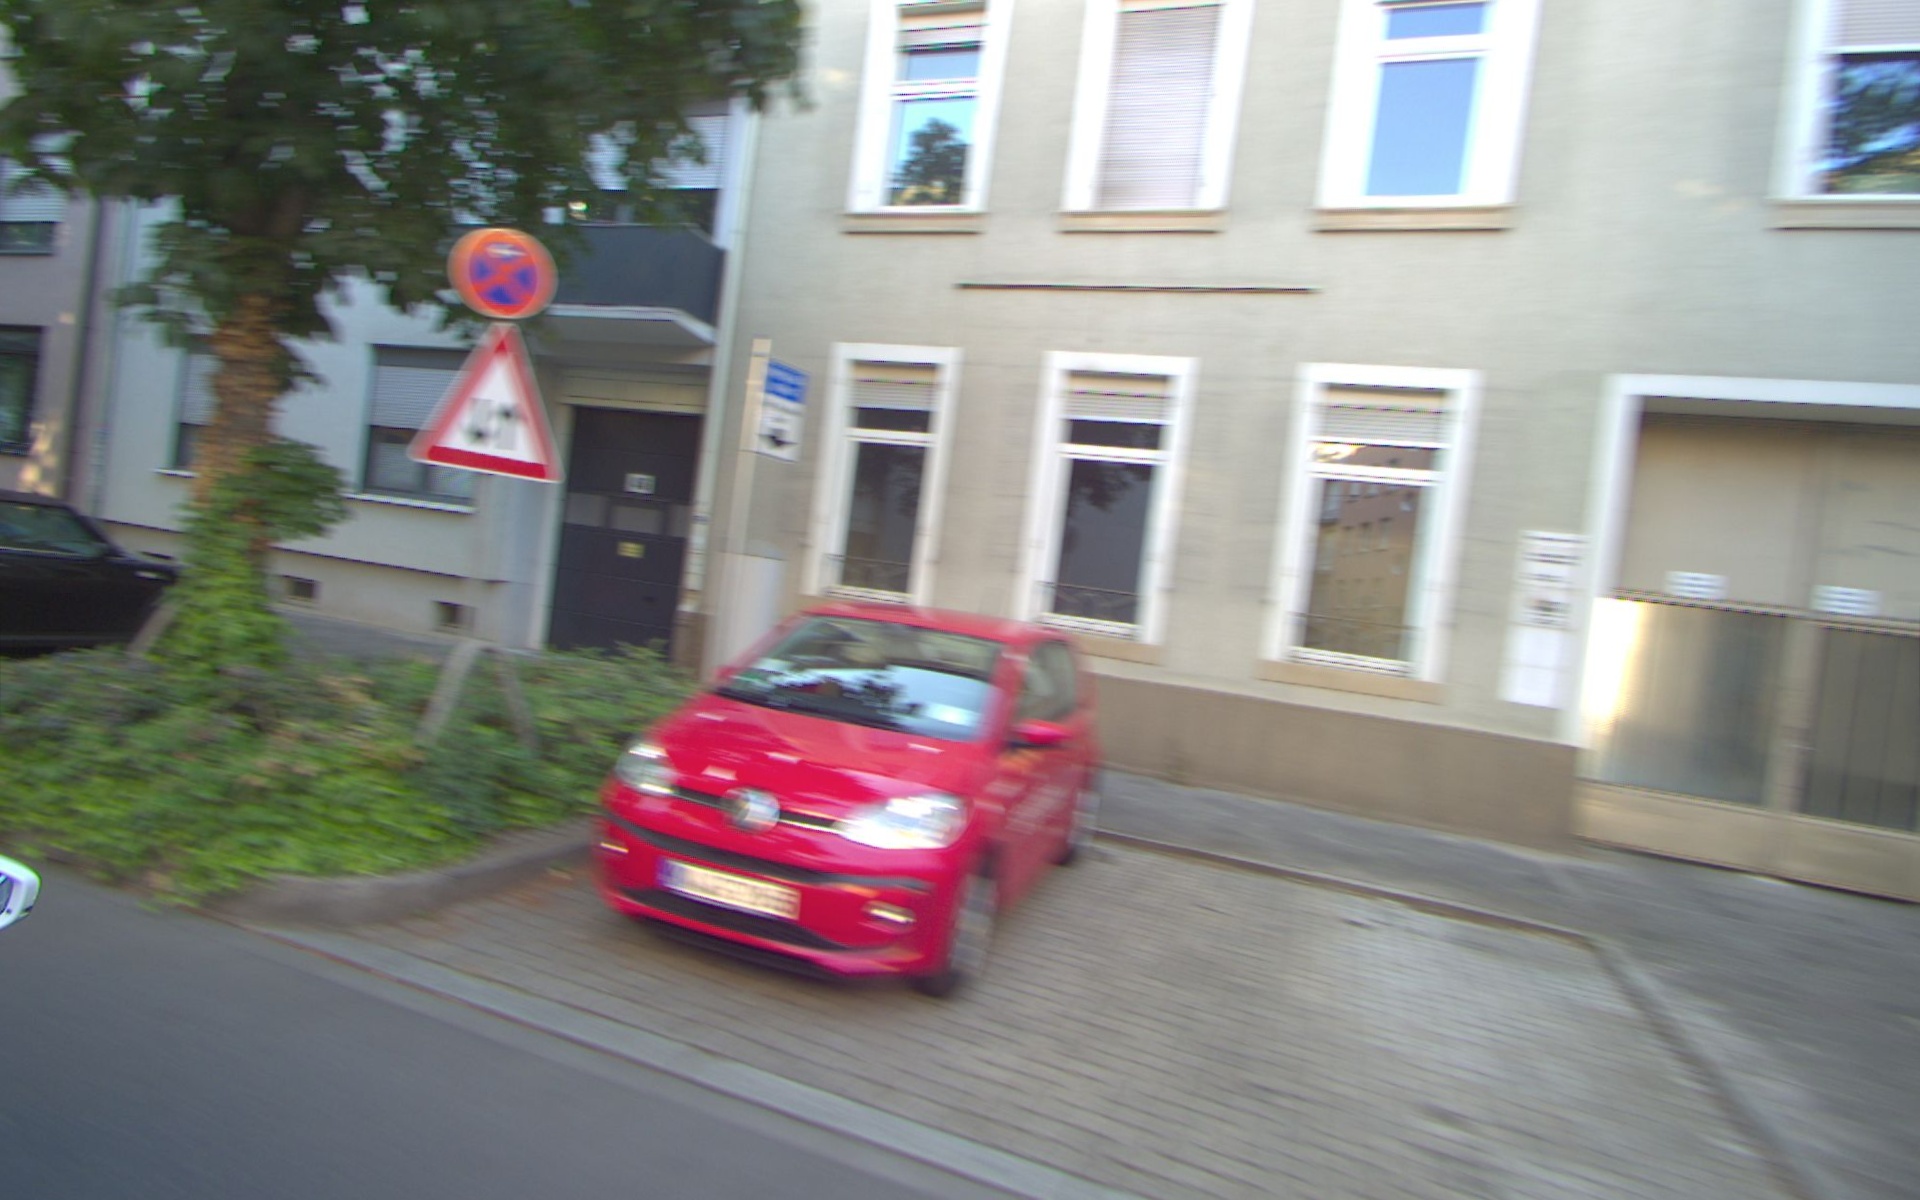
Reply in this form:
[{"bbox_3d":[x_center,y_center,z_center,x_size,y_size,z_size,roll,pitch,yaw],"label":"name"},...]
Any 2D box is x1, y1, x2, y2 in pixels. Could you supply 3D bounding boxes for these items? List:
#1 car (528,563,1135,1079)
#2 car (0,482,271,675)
[{"bbox_3d":[-0.217,0.772,5.197,1.536,1.494,3.667,8,0,18],"label":"car"},{"bbox_3d":[-8.025,-0.236,8.229,1.596,1.447,3.712,7,2,15],"label":"car"}]
